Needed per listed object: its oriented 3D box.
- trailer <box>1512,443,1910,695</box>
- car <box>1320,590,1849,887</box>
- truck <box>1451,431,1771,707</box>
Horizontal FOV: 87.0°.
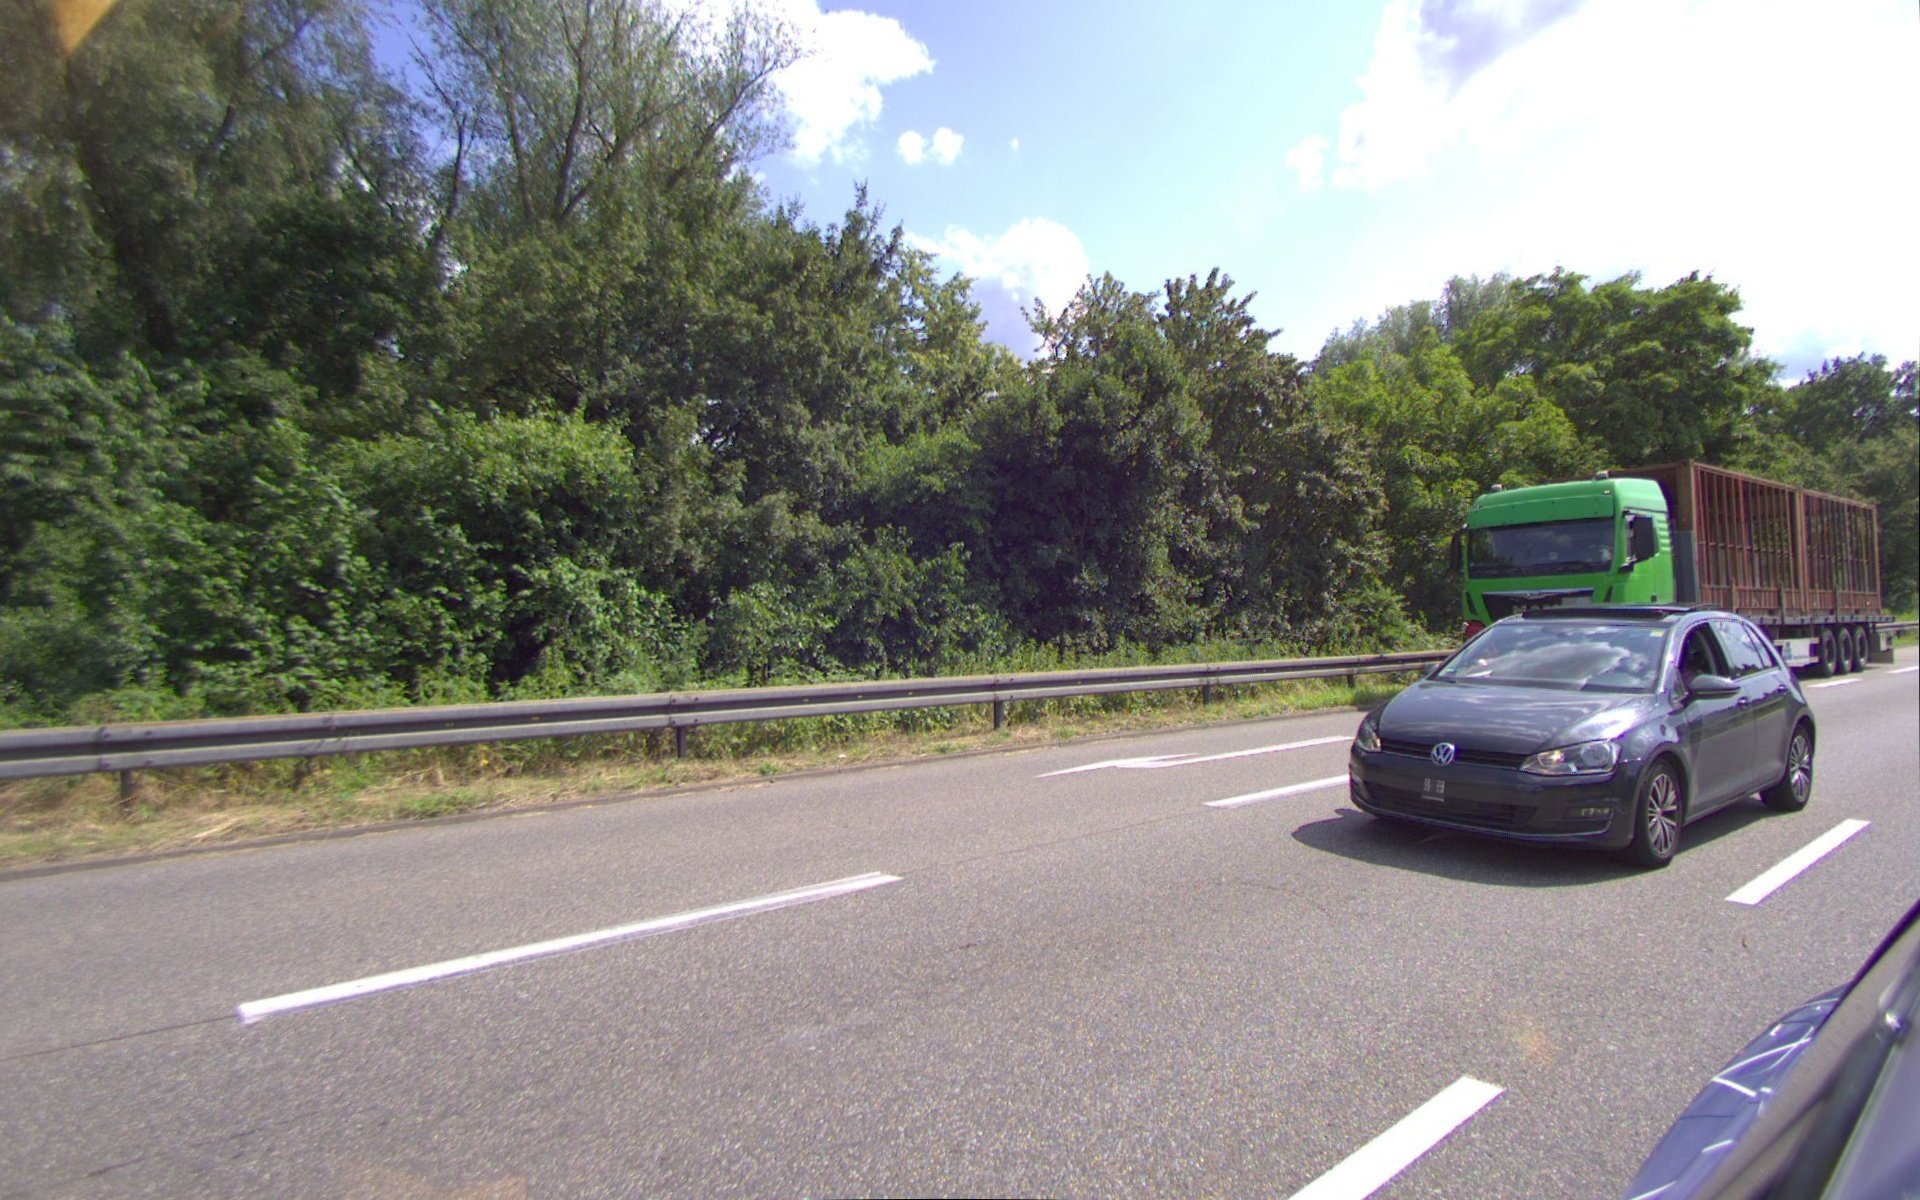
[{"bbox_3d":[16.324,-0.440,21.154,14.231,3.944,2.591,0,-3,-37],"label":"trailer"},{"bbox_3d":[4.425,0.704,6.982,3.971,1.495,1.736,0,-1,-36],"label":"car"},{"bbox_3d":[11.213,-0.404,17.265,5.949,3.945,2.591,0,-3,-37],"label":"truck"}]
